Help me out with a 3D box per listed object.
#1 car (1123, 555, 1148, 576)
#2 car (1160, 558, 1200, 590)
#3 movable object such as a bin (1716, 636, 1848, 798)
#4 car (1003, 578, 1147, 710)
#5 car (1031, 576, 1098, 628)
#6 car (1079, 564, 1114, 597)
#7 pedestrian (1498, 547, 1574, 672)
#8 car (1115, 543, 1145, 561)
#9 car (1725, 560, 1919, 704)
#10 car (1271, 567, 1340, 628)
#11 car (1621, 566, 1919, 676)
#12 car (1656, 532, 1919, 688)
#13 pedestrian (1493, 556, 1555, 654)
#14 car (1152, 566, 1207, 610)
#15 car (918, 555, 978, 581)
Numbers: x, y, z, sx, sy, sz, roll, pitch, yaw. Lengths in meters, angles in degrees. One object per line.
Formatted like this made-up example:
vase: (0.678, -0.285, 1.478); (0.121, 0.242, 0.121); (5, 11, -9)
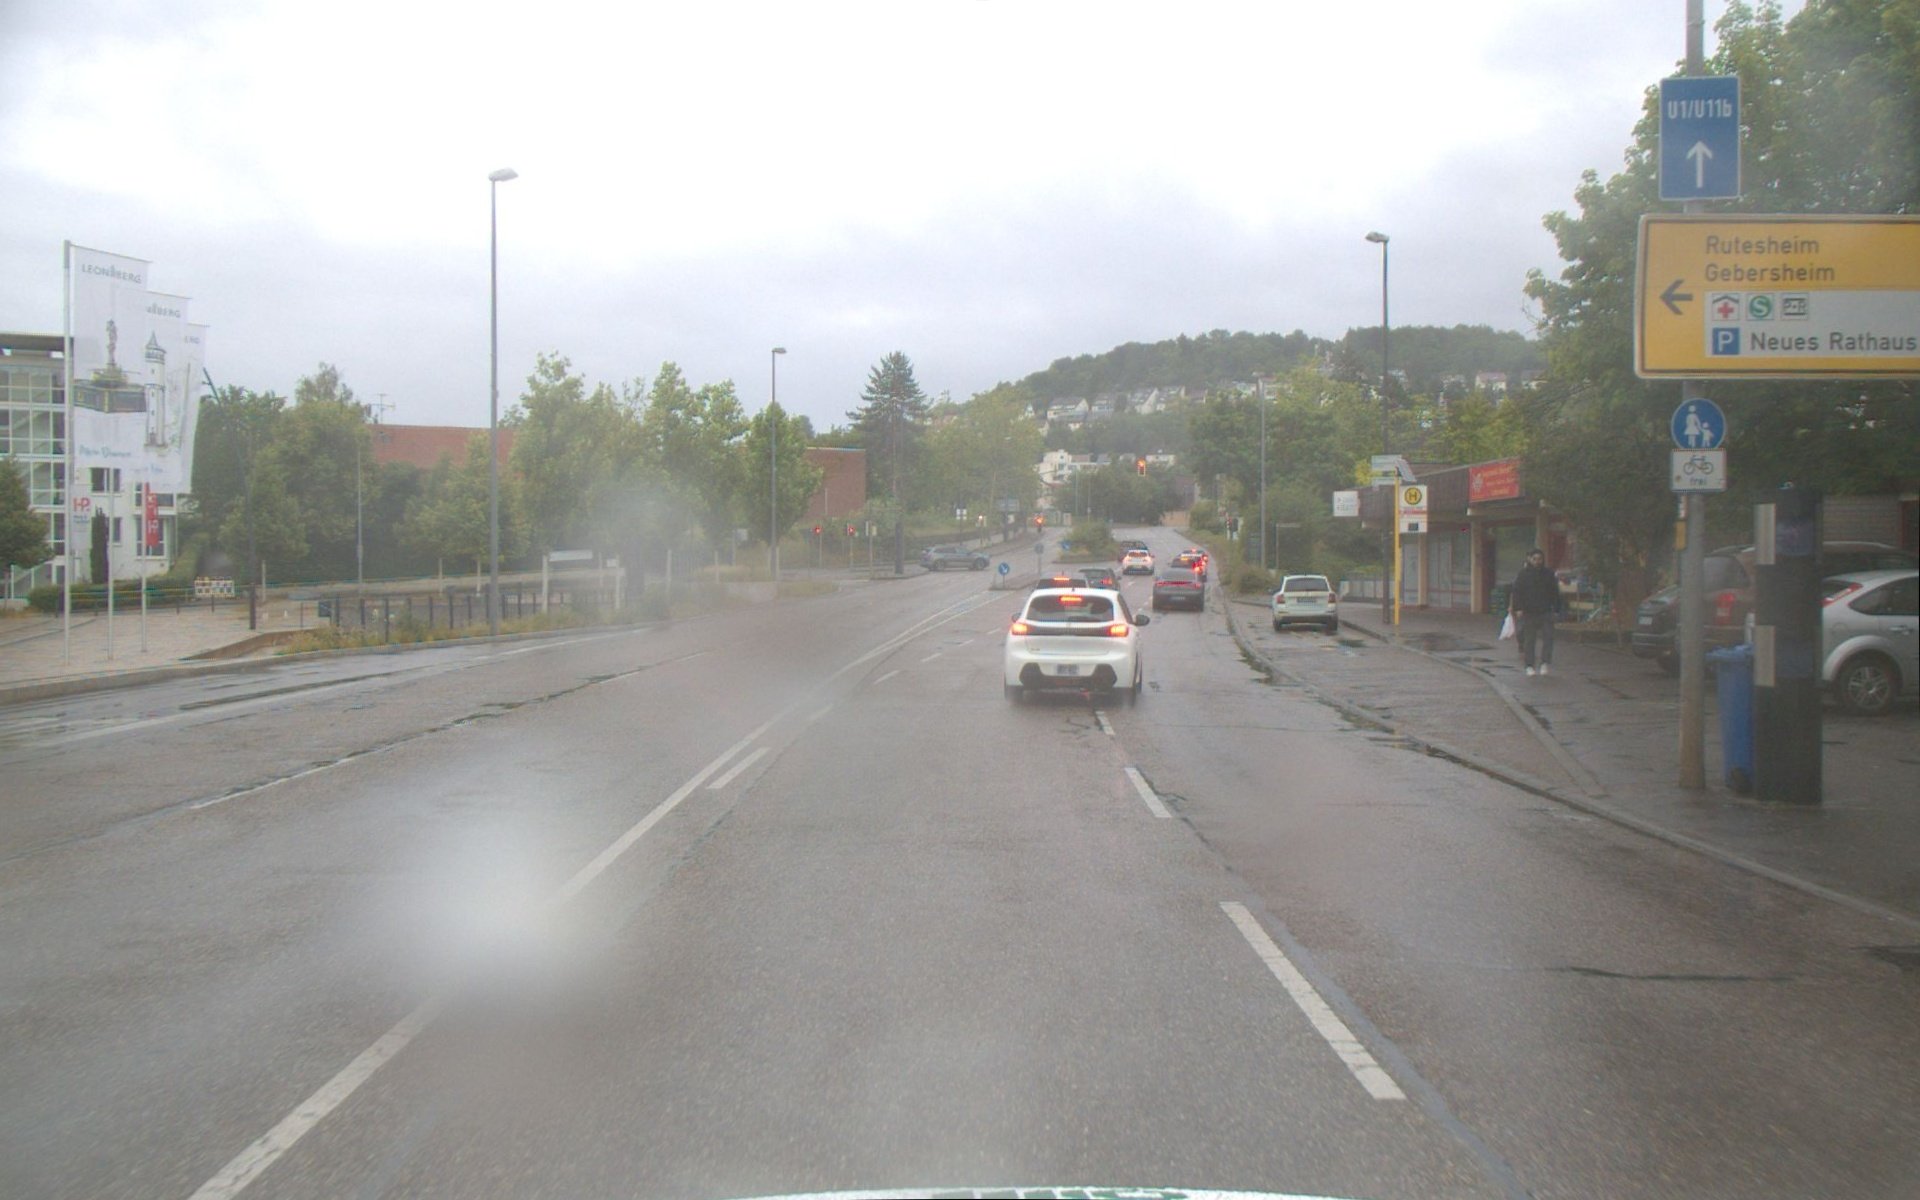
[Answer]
car: (10.609, -2.051, 100.056); (1.356, 1.146, 2.611); (-1, -1, 3)
car: (11.493, -1.358, 86.523); (1.614, 1.511, 3.365); (-1, -1, -1)
movable object such as a bin: (5.964, 0.837, 12.026); (0.623, 1.093, 0.698); (-1, 2, 2)
car: (1.612, 0.507, 22.093); (1.655, 1.545, 3.936); (2, 1, 7)
car: (2.848, 0.042, 44.666); (1.704, 1.318, 3.336); (-1, 0, 4)
car: (5.290, -0.745, 64.147); (1.188, 1.176, 2.270); (-1, -1, 1)
pedestrian: (8.678, 0.148, 24.923); (0.700, 1.853, 0.789); (0, -2, -27)
car: (12.209, -3.452, 118.666); (1.340, 1.177, 2.423); (-1, -1, 28)
car: (10.753, 0.299, 18.158); (3.903, 1.472, 1.747); (-1, 1, 3)
car: (9.485, -0.113, 45.661); (1.693, 1.523, 4.485); (-2, 1, 10)
car: (12.063, 0.279, 24.172); (4.062, 1.479, 1.803); (-1, 0, 1)
car: (11.469, 0.102, 21.564); (4.008, 1.903, 1.877); (-1, 1, 3)
pedestrian: (10.507, 0.082, 30.825); (0.857, 1.767, 0.760); (-2, 1, 1)
car: (8.081, -0.452, 61.111); (1.698, 1.411, 3.355); (1, 4, 2)
car: (-0.767, -2.041, 106.778); (3.472, 1.596, 1.785); (-1, -1, -26)
